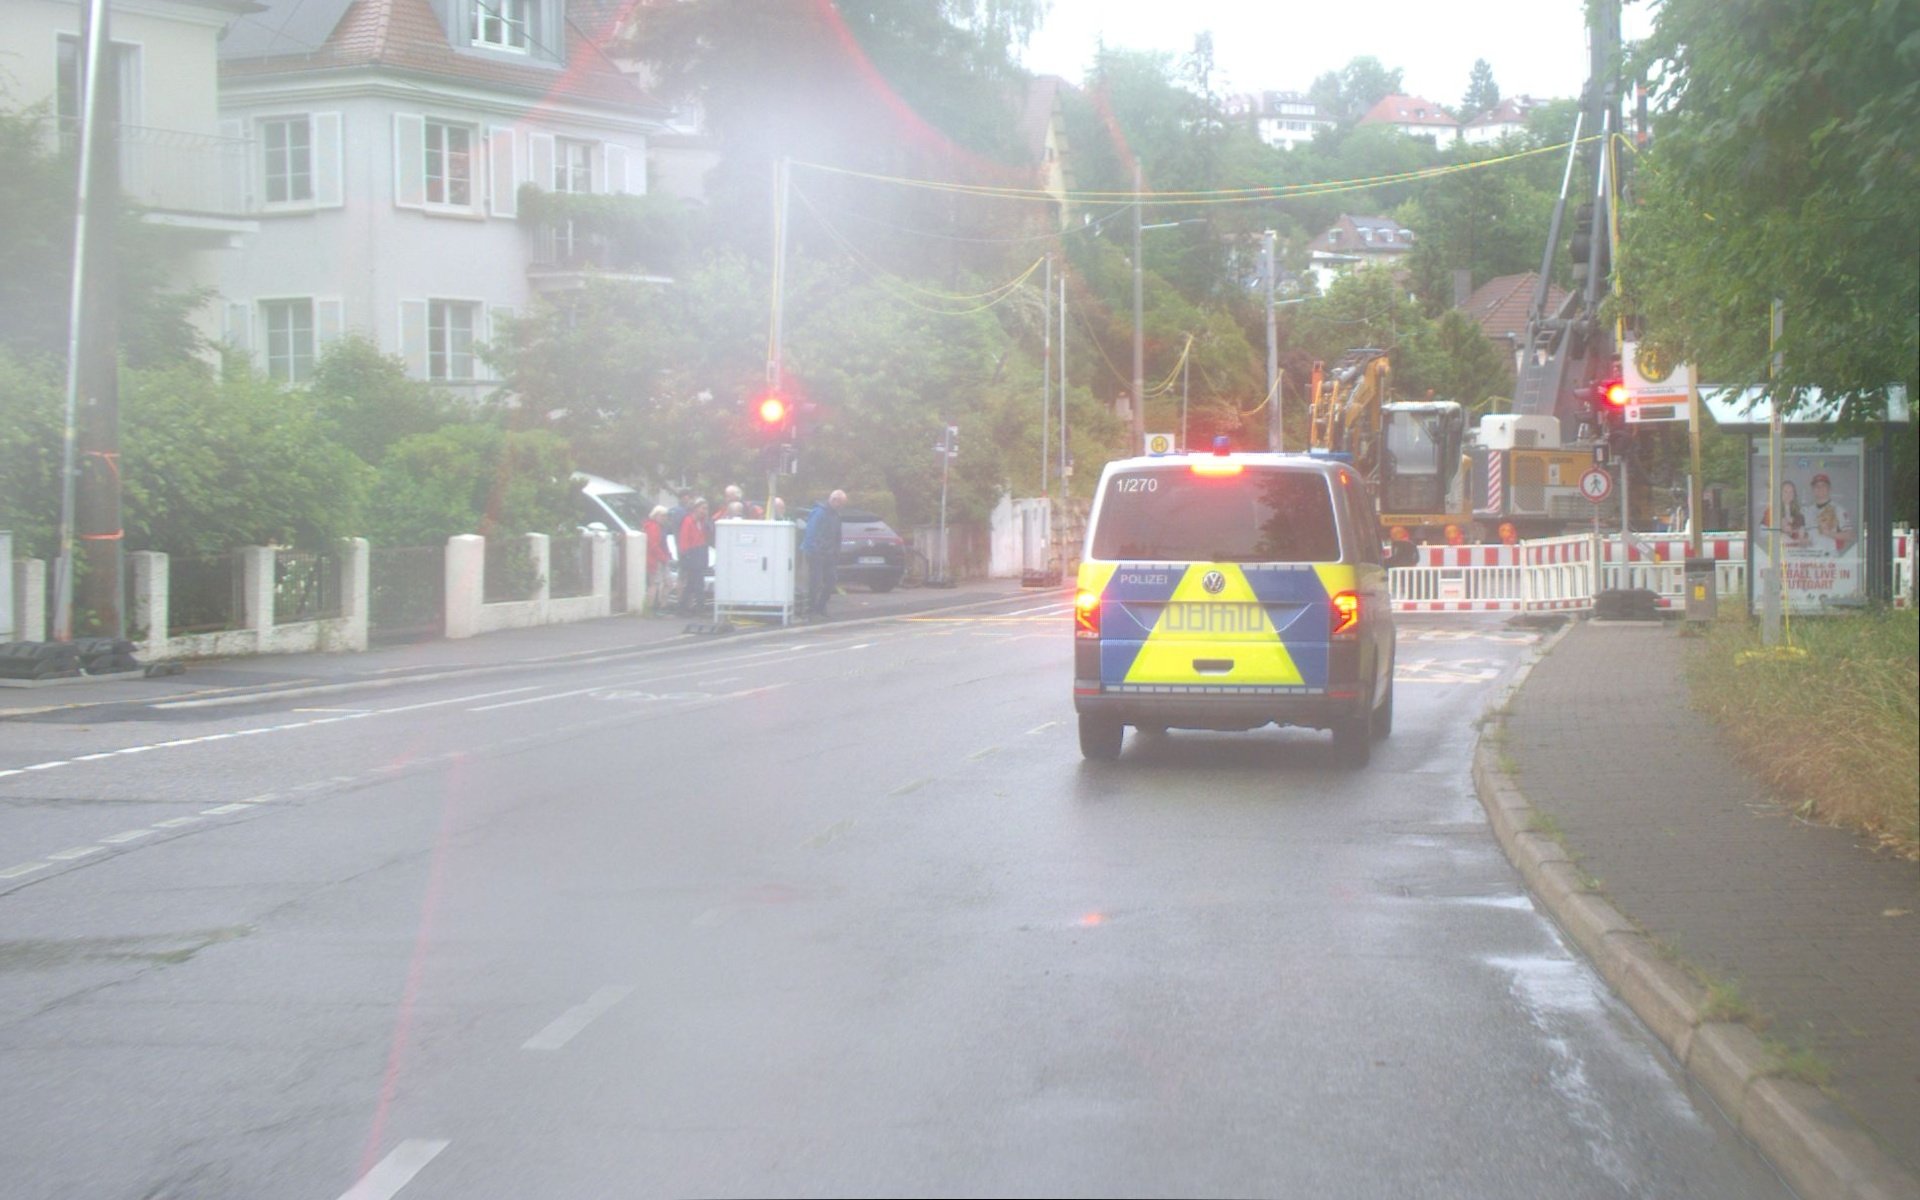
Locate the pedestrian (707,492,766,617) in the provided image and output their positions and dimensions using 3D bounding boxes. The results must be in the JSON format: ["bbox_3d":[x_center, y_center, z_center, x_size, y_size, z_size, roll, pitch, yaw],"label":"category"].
[{"bbox_3d":[-3.109,-0.632,47.802,0.626,1.709,0.592,2,-1,10],"label":"pedestrian"}]

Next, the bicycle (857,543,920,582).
[{"bbox_3d":[-1.283,-0.670,61.470,1.054,0.660,0.320,2,-1,19],"label":"bicycle"}]

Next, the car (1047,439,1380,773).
[{"bbox_3d":[1.729,-0.039,22.995,1.994,2.006,4.401,-1,2,5],"label":"car"}]

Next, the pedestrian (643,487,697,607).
[{"bbox_3d":[-3.870,-0.704,45.894,0.563,1.577,0.468,2,-1,10],"label":"pedestrian"}]

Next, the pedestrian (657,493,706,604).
[{"bbox_3d":[-3.833,-0.708,47.329,0.525,1.501,0.429,2,-1,10],"label":"pedestrian"}]

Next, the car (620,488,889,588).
[{"bbox_3d":[-3.376,-1.018,56.596,3.991,1.481,1.758,2,0,19],"label":"car"}]

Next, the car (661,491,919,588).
[{"bbox_3d":[-2.898,-1.035,58.697,3.991,1.481,1.758,2,0,19],"label":"car"}]

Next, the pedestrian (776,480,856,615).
[{"bbox_3d":[-1.940,-0.701,46.501,0.890,1.781,0.828,2,-1,7],"label":"pedestrian"}]

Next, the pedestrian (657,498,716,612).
[{"bbox_3d":[-3.713,-0.602,46.706,0.626,1.516,0.592,2,-1,10],"label":"pedestrian"}]

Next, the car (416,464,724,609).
[{"bbox_3d":[-5.593,-0.931,49.402,3.991,2.007,1.828,1,1,20],"label":"car"}]
